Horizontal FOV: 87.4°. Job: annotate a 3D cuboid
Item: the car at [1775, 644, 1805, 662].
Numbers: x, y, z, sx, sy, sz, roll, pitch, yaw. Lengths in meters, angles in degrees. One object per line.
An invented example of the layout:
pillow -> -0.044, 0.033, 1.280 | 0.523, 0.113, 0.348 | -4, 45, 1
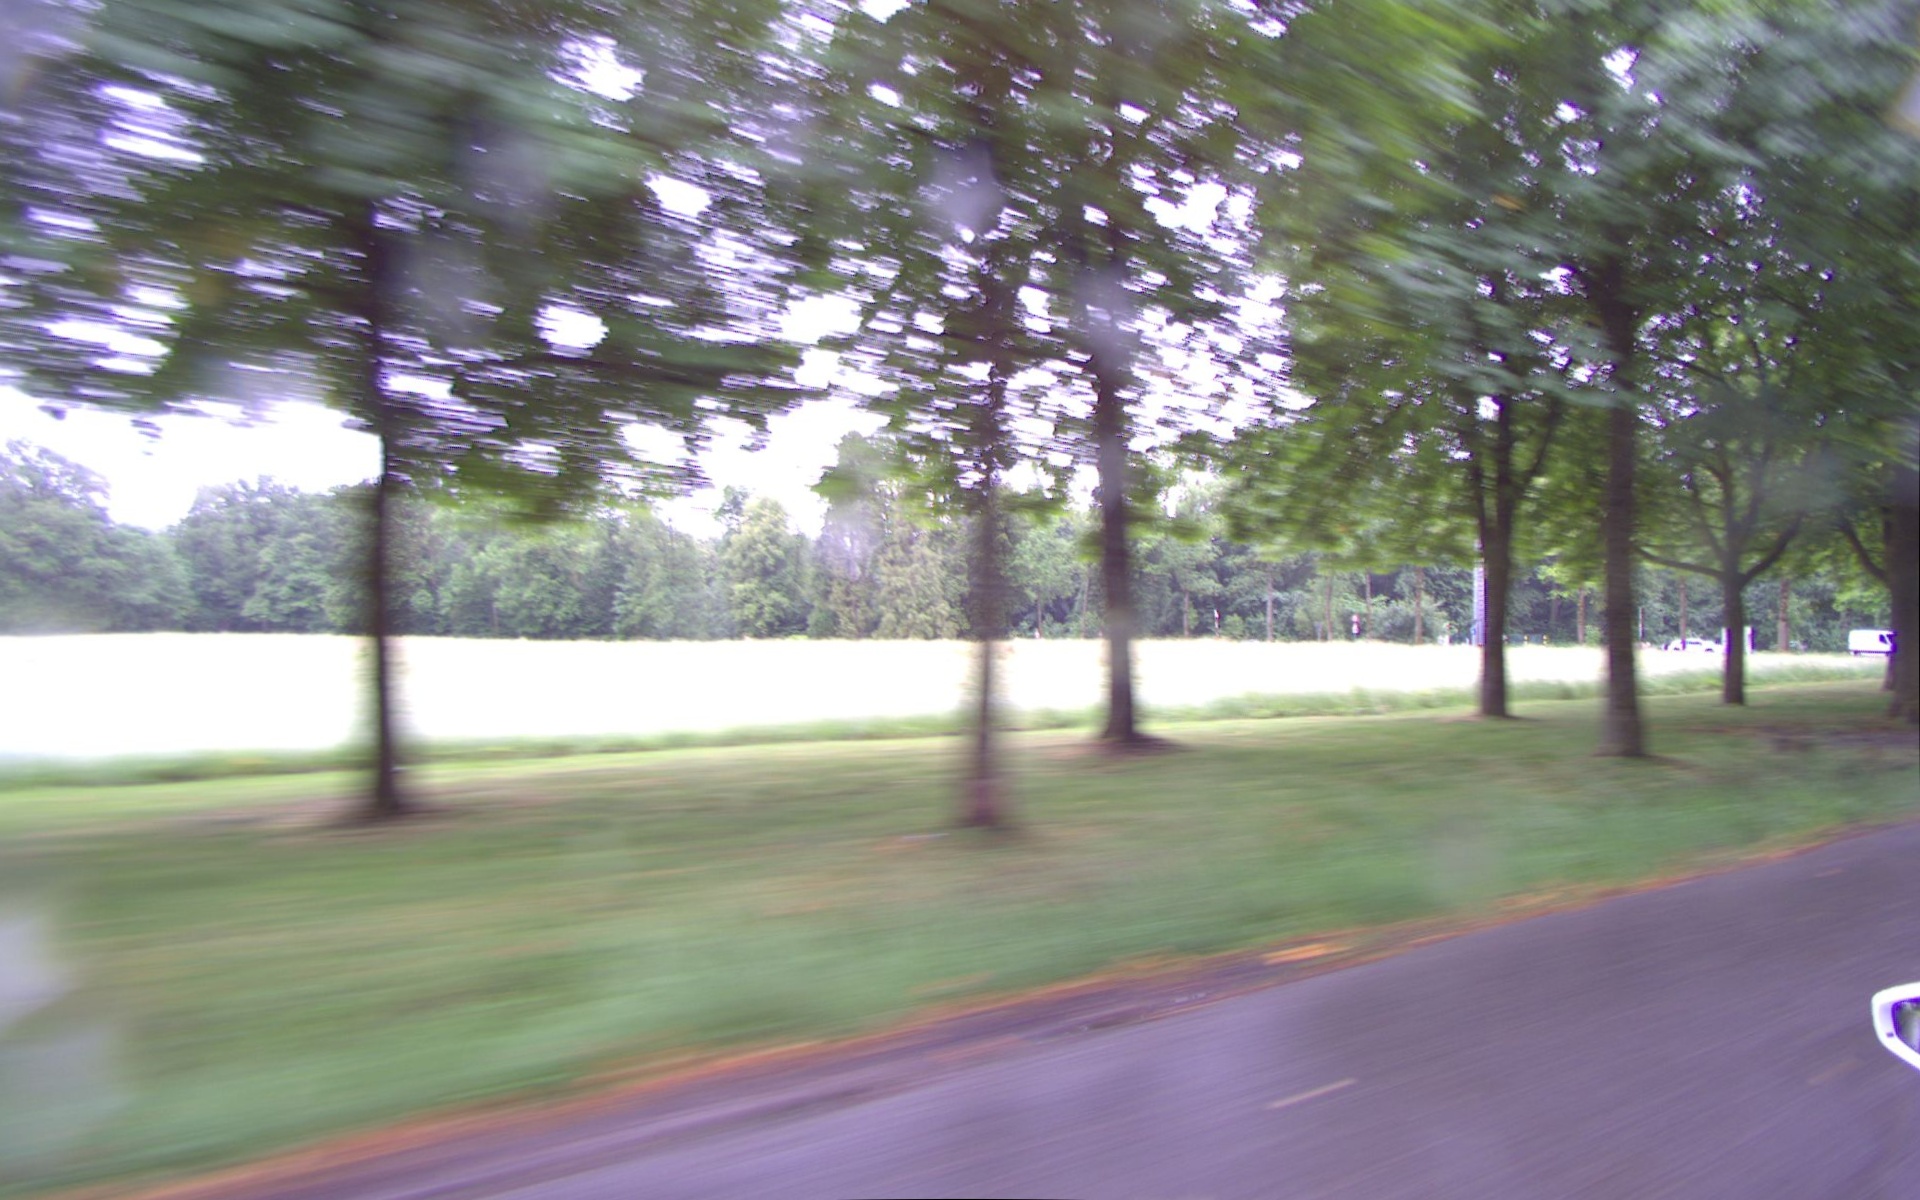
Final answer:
car -> 68.022, 4.331, 82.286 | 1.743, 1.448, 4.086 | -1, -2, 41

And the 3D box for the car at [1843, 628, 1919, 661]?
car -> 74.182, 3.603, 80.601 | 2.344, 2.439, 5.989 | 2, -2, 11

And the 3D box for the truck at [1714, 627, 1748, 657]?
truck -> 64.927, 3.540, 84.528 | 3.328, 2.475, 1.851 | 2, -2, -45
